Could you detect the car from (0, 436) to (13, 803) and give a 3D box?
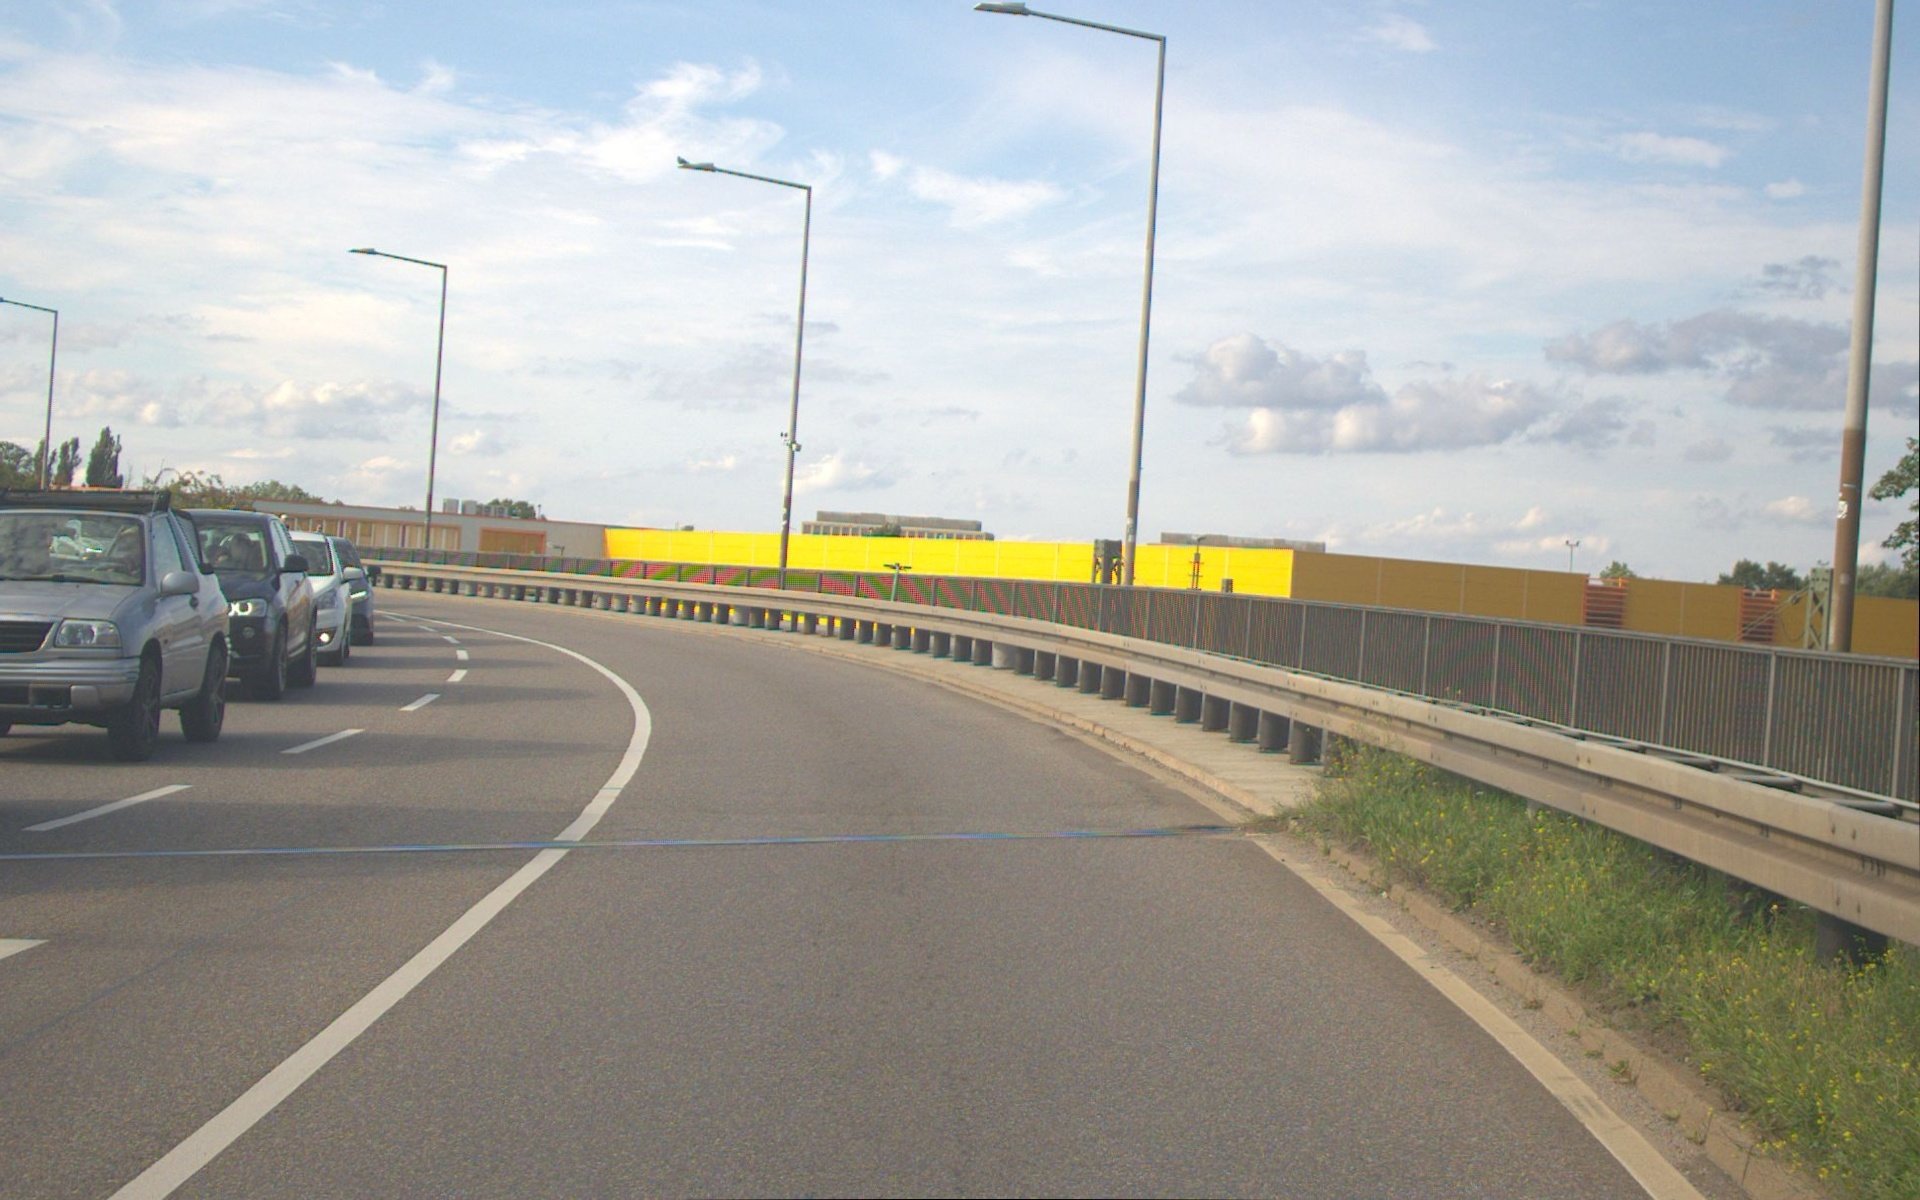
[{"bbox_3d":[-6.076,0.131,15.889,1.985,1.957,5.048,2,1,0],"label":"car"}]

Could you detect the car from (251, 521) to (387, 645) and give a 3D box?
[{"bbox_3d":[-8.570,-0.260,46.050,1.682,1.540,3.924,1,1,-10],"label":"car"}]

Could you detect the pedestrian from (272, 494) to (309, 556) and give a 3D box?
[{"bbox_3d":[-18.273,-2.053,93.787,0.676,1.656,0.865,1,1,-33],"label":"pedestrian"}]

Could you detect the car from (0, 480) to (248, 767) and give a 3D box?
[{"bbox_3d":[-5.970,0.091,22.993,1.773,1.740,3.838,2,1,-3],"label":"car"}]

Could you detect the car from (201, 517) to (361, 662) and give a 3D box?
[{"bbox_3d":[-7.788,-0.155,39.609,1.682,1.540,3.924,1,1,-10],"label":"car"}]

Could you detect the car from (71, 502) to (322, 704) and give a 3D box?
[{"bbox_3d":[-6.884,-0.029,31.393,1.869,1.660,4.631,1,1,-8],"label":"car"}]
